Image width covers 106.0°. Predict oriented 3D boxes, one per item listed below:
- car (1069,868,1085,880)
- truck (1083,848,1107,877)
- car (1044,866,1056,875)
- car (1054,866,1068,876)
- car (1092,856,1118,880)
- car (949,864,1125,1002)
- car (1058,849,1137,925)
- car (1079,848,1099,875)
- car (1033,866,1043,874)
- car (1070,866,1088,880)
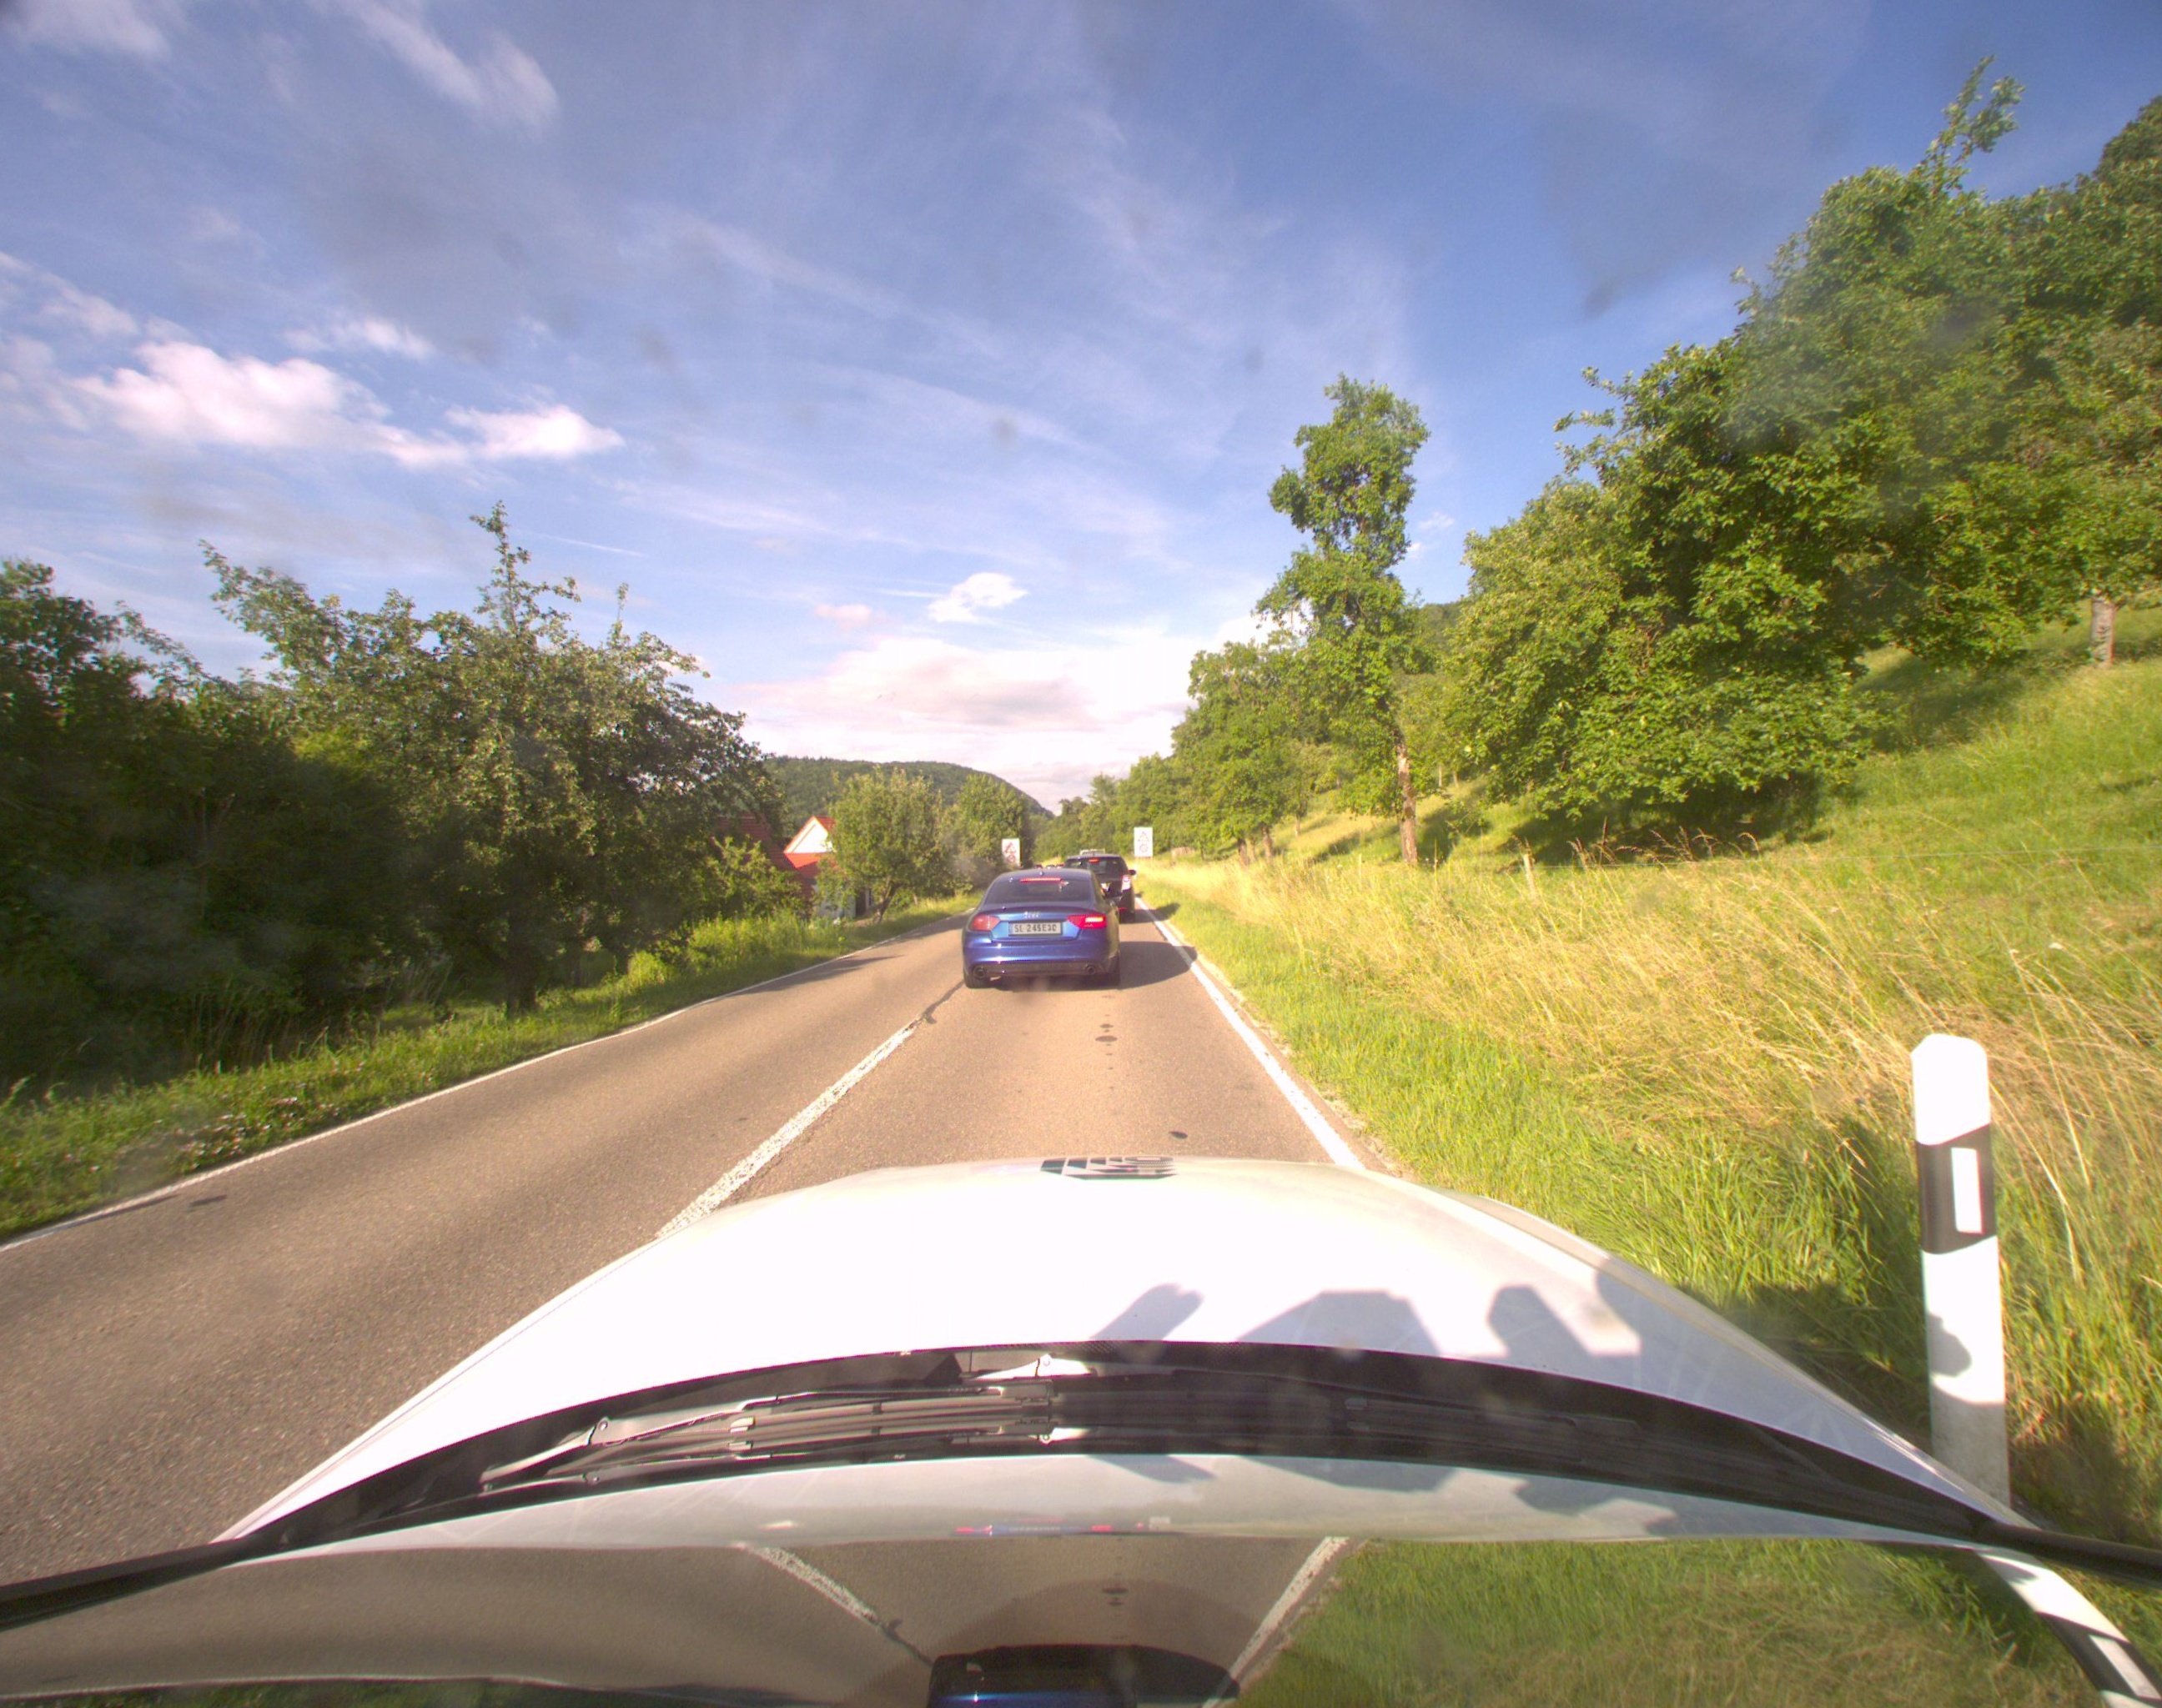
[{"bbox_3d":[-0.557,2.674,110.810,1.746,1.496,3.769,1,0,-7],"label":"car"},{"bbox_3d":[1.202,0.690,68.795,1.943,2.345,5.094,1,0,1],"label":"truck"},{"bbox_3d":[-5.482,2.895,143.268,1.559,1.496,3.765,1,0,-10],"label":"car"},{"bbox_3d":[-3.186,2.721,130.092,1.748,1.496,3.766,1,0,-9],"label":"car"},{"bbox_3d":[1.654,0.930,55.808,1.686,1.624,3.790,-1,0,1],"label":"car"},{"bbox_3d":[-0.385,0.844,10.587,1.799,1.382,4.216,-2,-1,2],"label":"car"},{"bbox_3d":[0.403,0.722,19.554,1.686,1.624,3.790,-1,0,1],"label":"car"},{"bbox_3d":[0.787,0.711,78.545,1.787,2.453,3.917,1,0,-1],"label":"car"},{"bbox_3d":[-8.491,3.088,160.059,1.559,1.496,3.764,1,0,-11],"label":"car"},{"bbox_3d":[-0.210,2.077,89.807,1.745,1.496,3.772,1,0,-4],"label":"car"}]
